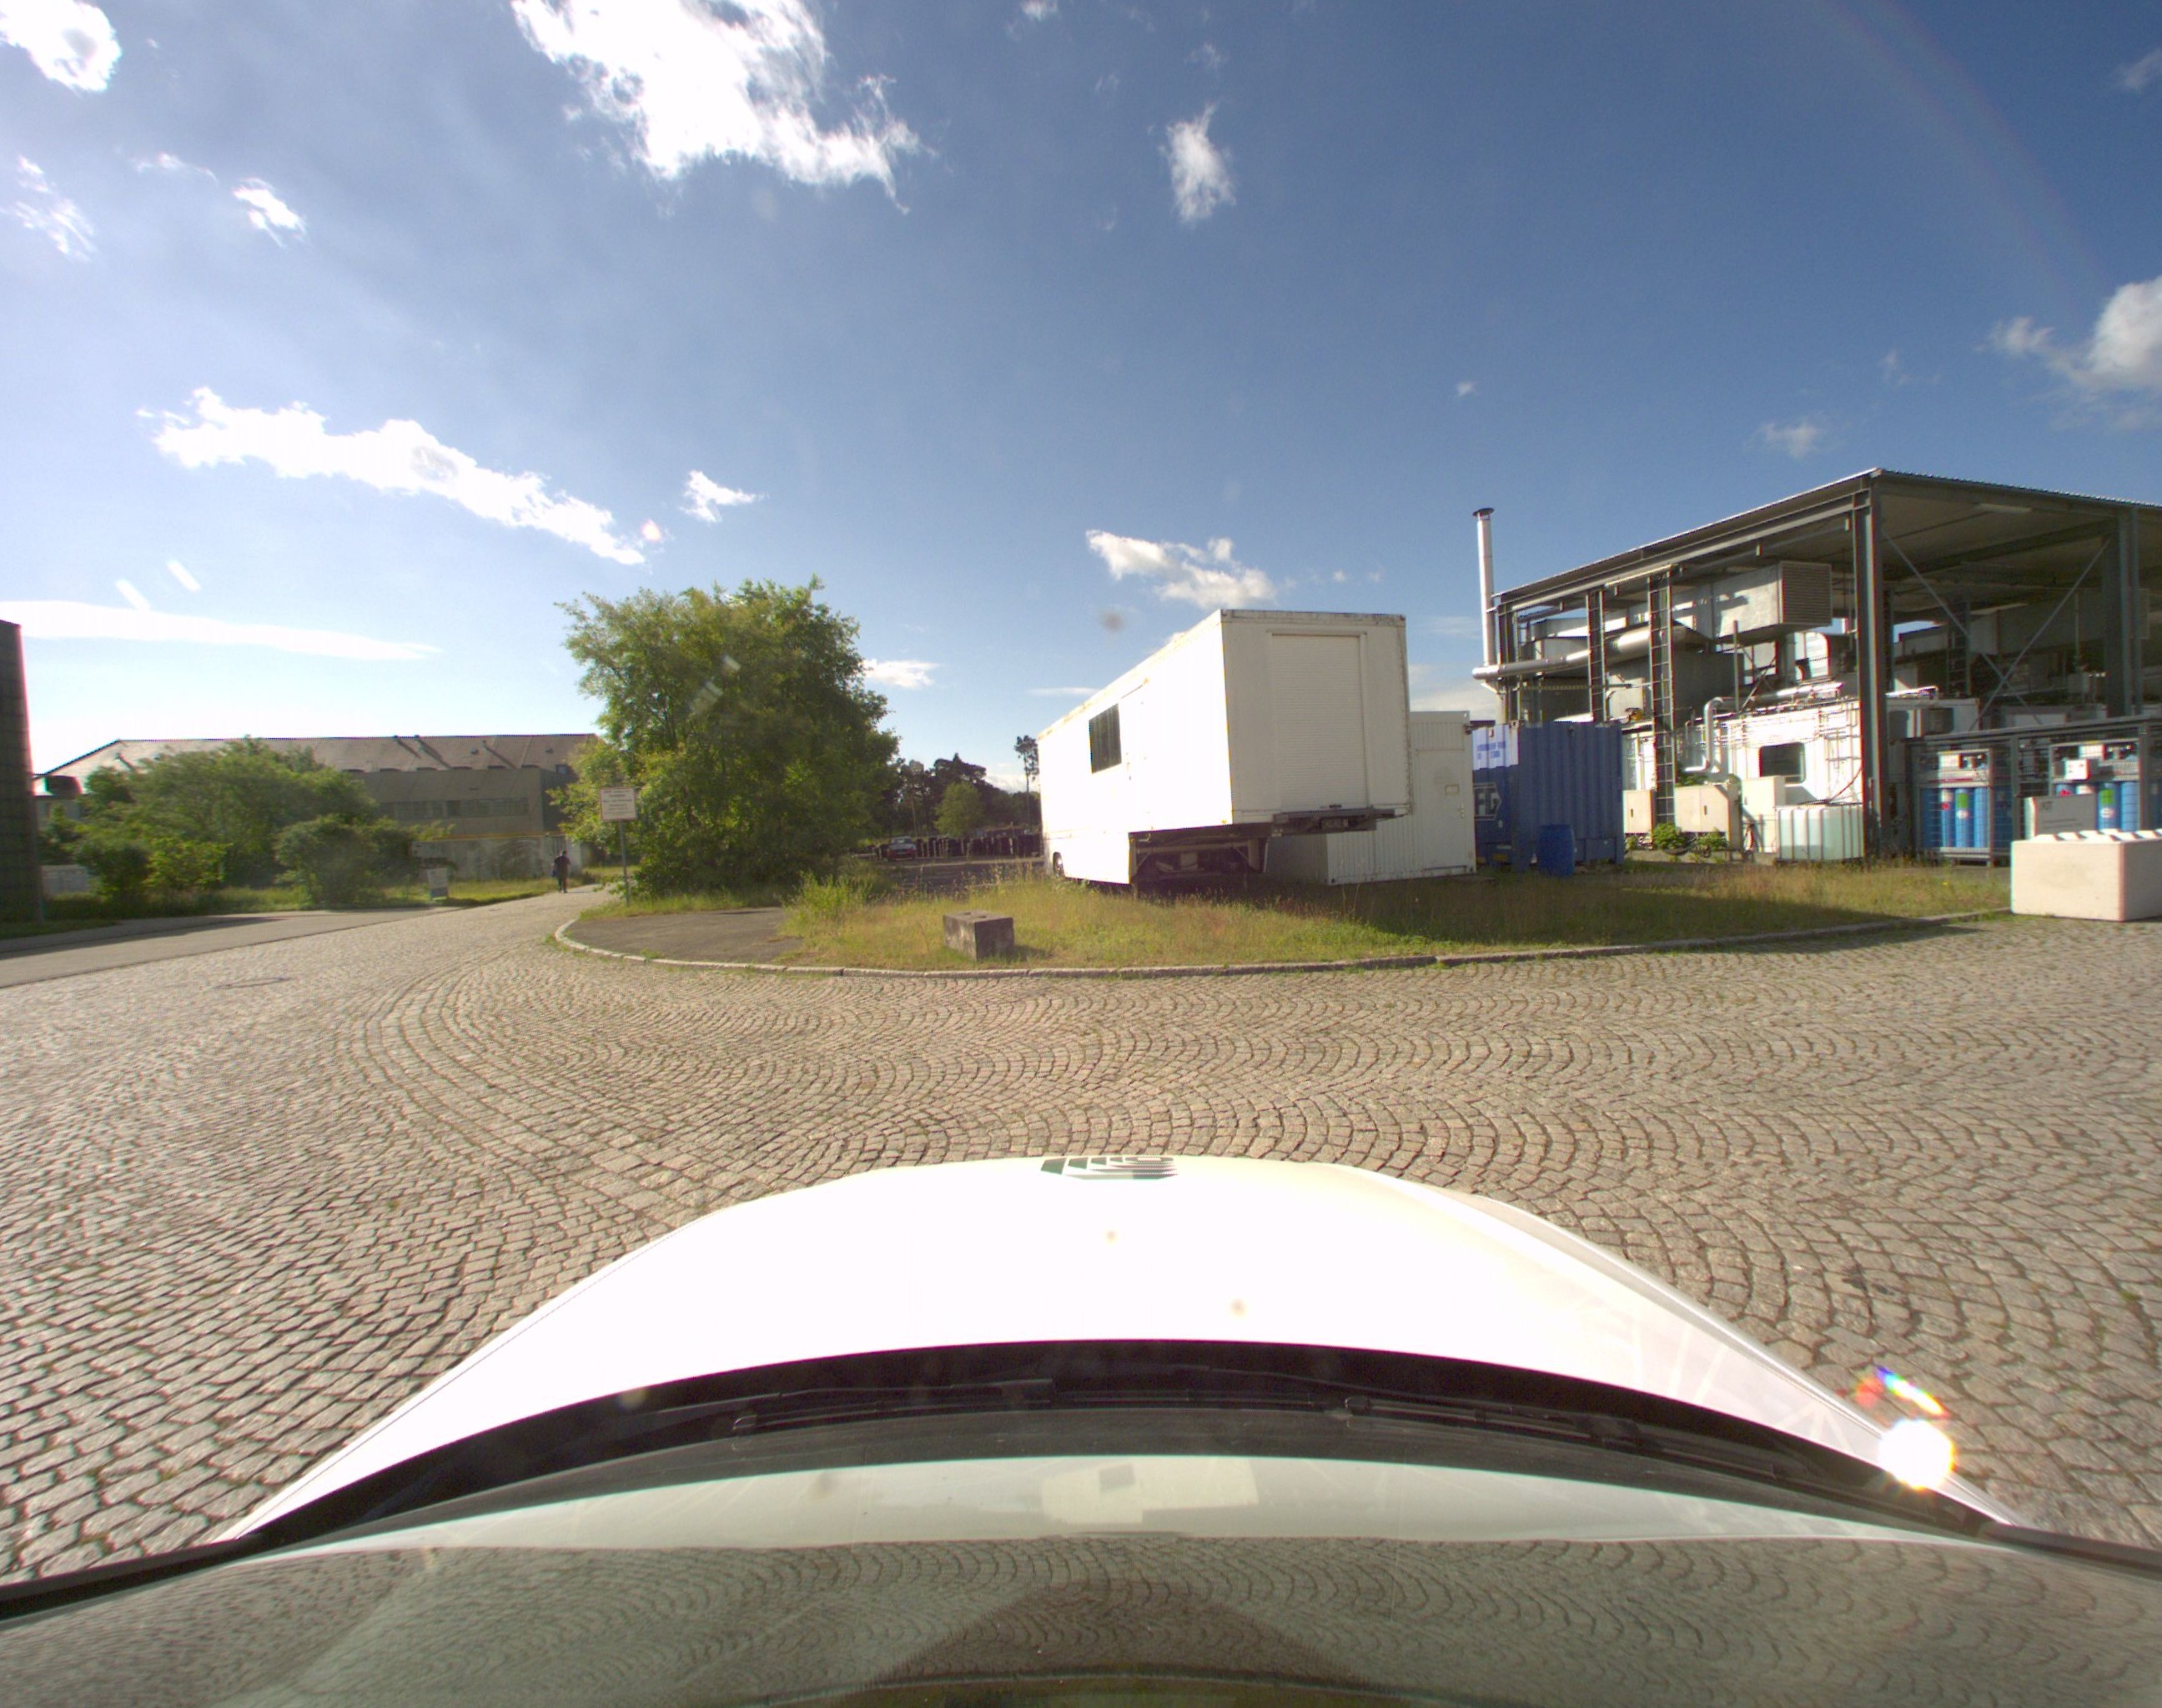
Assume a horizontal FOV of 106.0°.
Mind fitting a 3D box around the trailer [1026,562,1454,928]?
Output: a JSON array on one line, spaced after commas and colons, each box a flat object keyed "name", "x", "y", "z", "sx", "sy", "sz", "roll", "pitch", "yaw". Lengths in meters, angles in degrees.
[{"name": "trailer", "x": 1.541, "y": -1.334, "z": 14.340, "sx": 2.777, "sy": 3.910, "sz": 10.831, "roll": -3, "pitch": 2, "yaw": -15}]

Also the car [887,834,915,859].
[{"name": "car", "x": -11.051, "y": -0.466, "z": 50.251, "sx": 1.542, "sy": 1.406, "sz": 3.564, "roll": -3, "pitch": 2, "yaw": -11}]

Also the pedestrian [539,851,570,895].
[{"name": "pedestrian", "x": -22.327, "y": 0.789, "z": 34.564, "sx": 0.797, "sy": 1.780, "sz": 1.062, "roll": -2, "pitch": 1, "yaw": -19}]
